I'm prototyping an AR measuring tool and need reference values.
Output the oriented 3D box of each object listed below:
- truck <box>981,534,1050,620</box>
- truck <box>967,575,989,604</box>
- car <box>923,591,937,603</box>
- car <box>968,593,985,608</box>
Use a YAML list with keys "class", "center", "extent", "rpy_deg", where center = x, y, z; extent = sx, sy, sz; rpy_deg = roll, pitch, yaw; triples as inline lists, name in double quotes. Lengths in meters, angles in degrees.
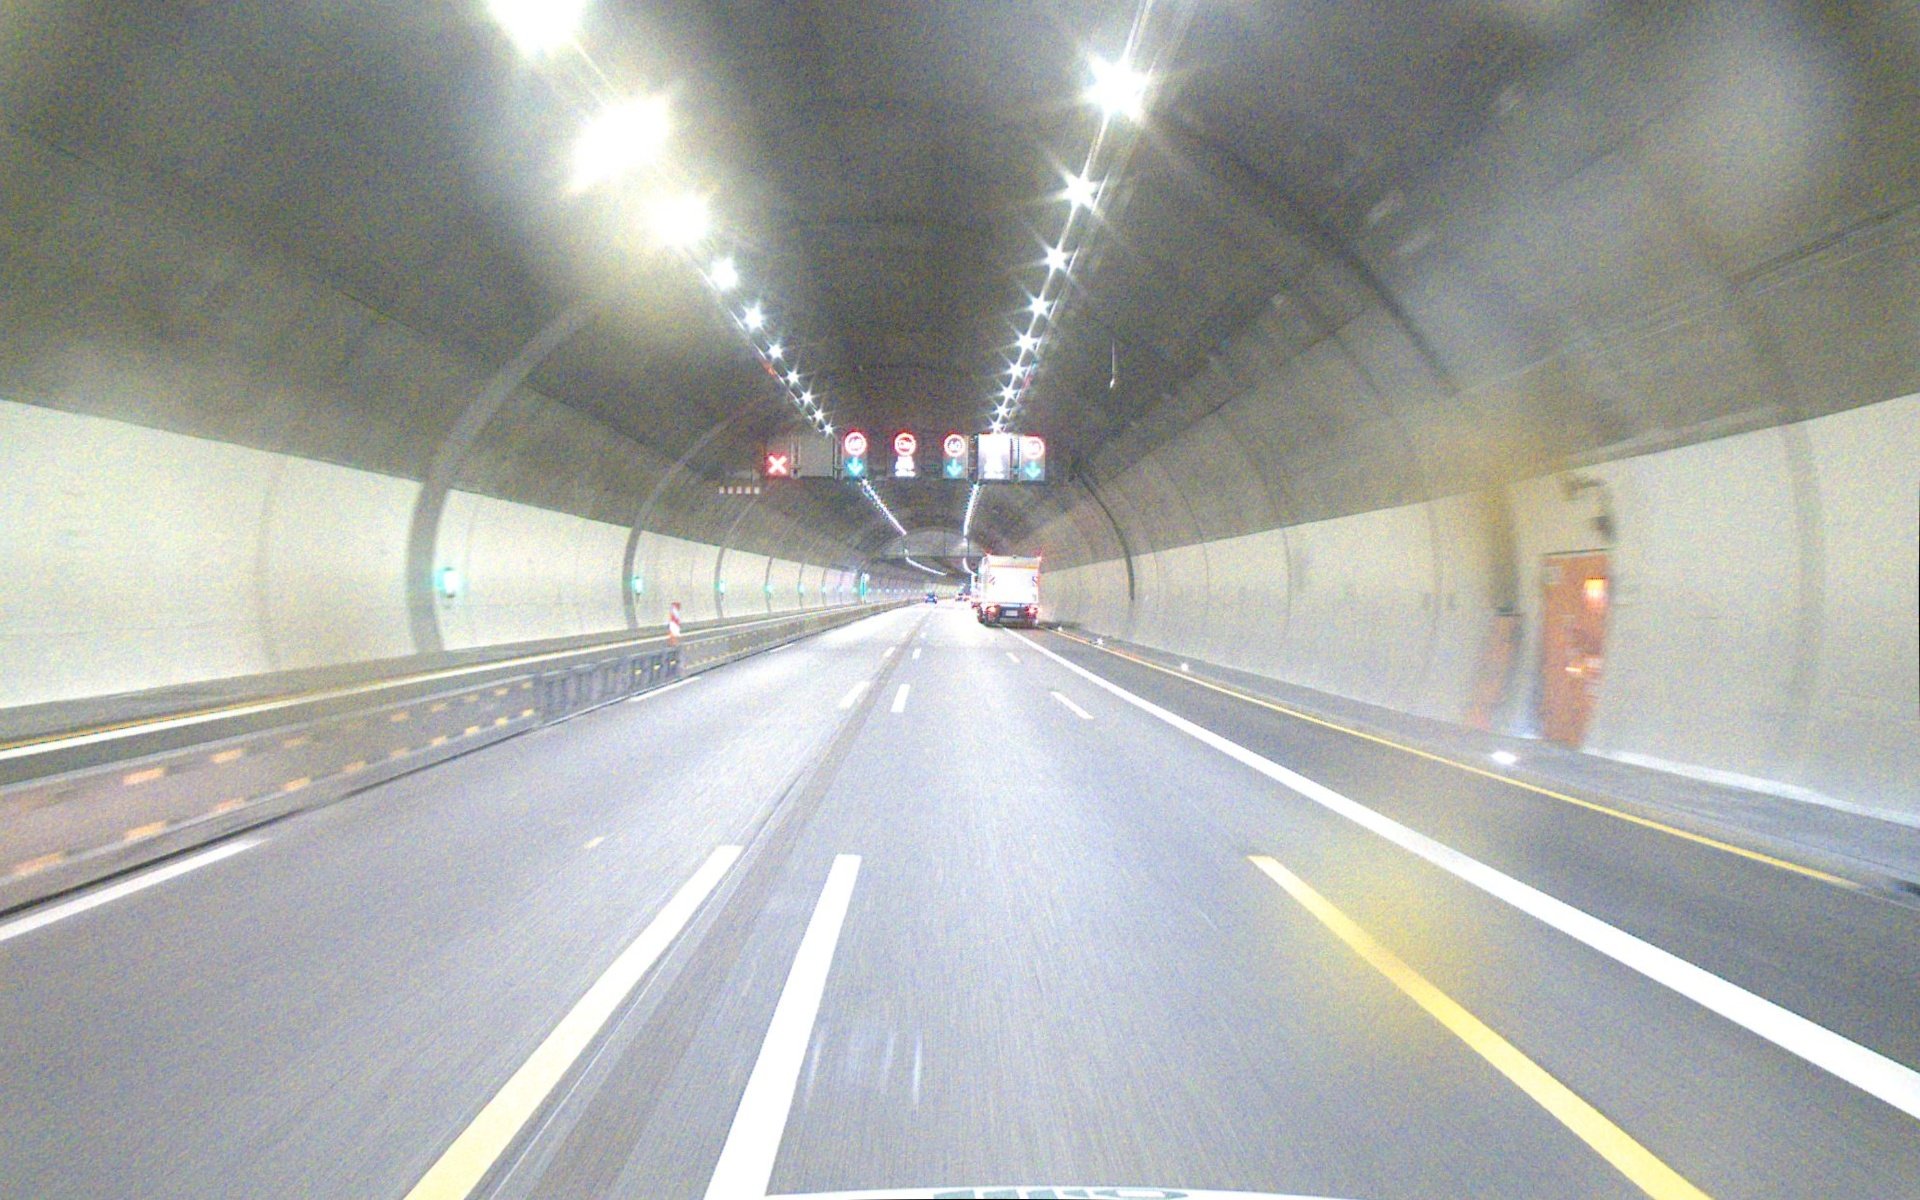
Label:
- class: "truck"
  center: [2.701, -1.055, 83.485]
  extent: [3.029, 3.986, 10.366]
  rpy_deg: [1, -1, 0]
- class: "truck"
  center: [2.696, -1.504, 240.136]
  extent: [3.003, 3.986, 10.368]
  rpy_deg: [1, -1, 1]
- class: "car"
  center: [-3.847, -0.412, 214.277]
  extent: [1.723, 1.486, 4.119]
  rpy_deg: [1, 1, 0]
- class: "car"
  center: [1.767, 0.070, 172.820]
  extent: [1.703, 1.486, 3.961]
  rpy_deg: [1, 1, 1]
